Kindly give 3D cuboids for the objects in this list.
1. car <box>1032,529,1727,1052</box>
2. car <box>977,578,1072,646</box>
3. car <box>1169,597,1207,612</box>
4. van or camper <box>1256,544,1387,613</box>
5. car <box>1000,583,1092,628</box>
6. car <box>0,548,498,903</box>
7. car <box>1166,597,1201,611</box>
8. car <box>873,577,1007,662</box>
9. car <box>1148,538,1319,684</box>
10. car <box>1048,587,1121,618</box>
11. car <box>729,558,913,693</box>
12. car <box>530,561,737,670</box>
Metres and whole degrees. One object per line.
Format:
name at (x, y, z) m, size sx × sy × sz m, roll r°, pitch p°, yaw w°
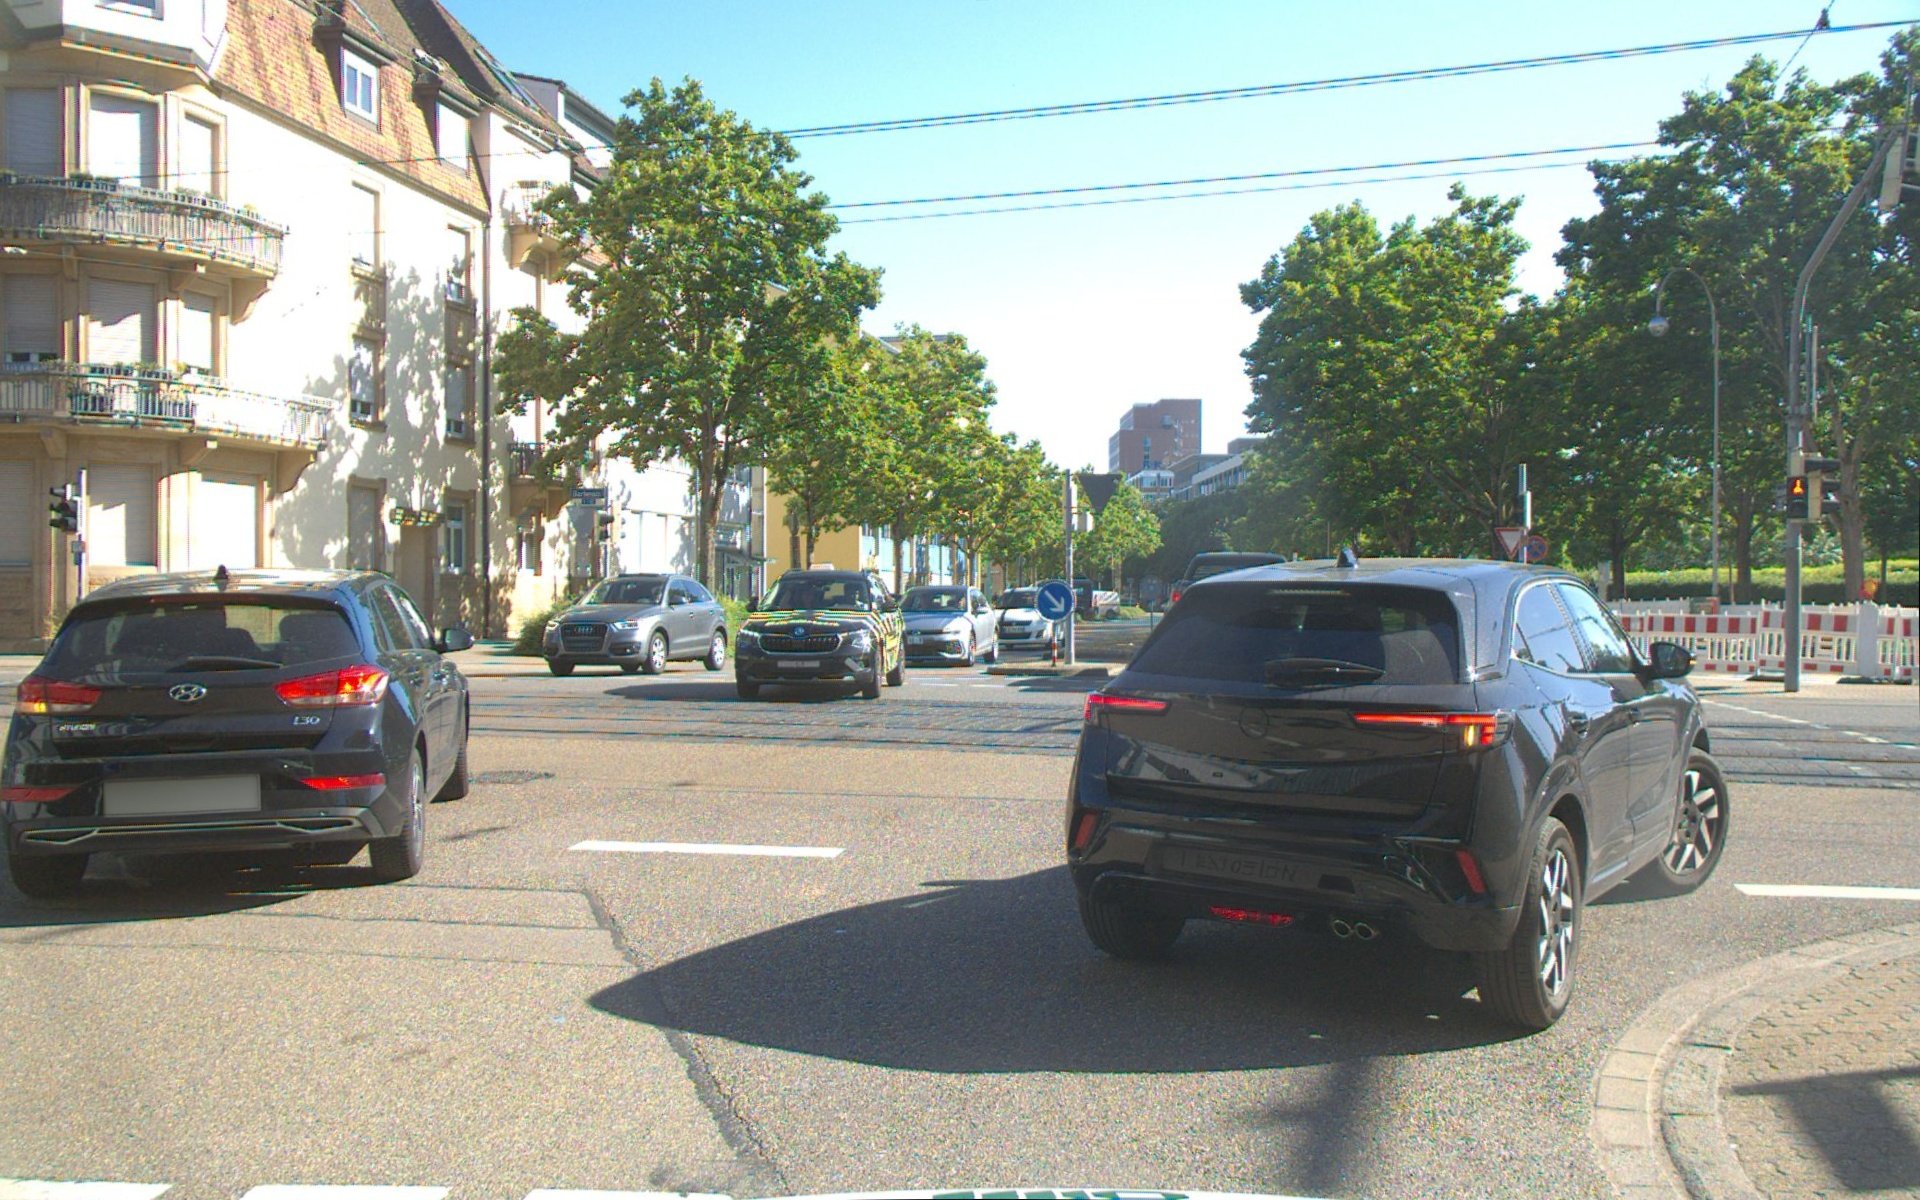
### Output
car at (1.993, 0.552, 6.950) m, size 1.750 × 1.544 × 3.745 m, roll 1°, pitch 0°, yaw 33°
car at (1.636, 0.267, 40.501) m, size 1.668 × 1.539 × 3.866 m, roll -2°, pitch 0°, yaw 12°
car at (24.486, 0.483, 177.690) m, size 3.865 × 1.421 × 1.516 m, roll -3°, pitch 0°, yaw 2°
van or camper at (17.389, -1.000, 79.871) m, size 5.949 × 2.980 × 2.577 m, roll -3°, pitch -1°, yaw 10°
car at (5.159, 0.330, 99.391) m, size 5.173 × 2.590 × 1.978 m, roll -1°, pitch 0°, yaw -15°
car at (-3.635, 0.455, 9.136) m, size 1.769 × 1.476 × 4.314 m, roll 0°, pitch 2°, yaw -12°
car at (25.971, 0.487, 192.345) m, size 3.865 × 1.421 × 1.516 m, roll -3°, pitch 0°, yaw 2°
car at (-0.308, 0.325, 30.840) m, size 1.671 × 1.477 × 3.854 m, roll 0°, pitch 0°, yaw 12°
car at (4.047, 0.123, 23.833) m, size 2.087 × 1.867 × 4.944 m, roll 0°, pitch 0°, yaw 13°
car at (8.832, 0.171, 117.239) m, size 4.820 × 2.119 × 1.970 m, roll -1°, pitch 0°, yaw -25°
car at (-1.645, 0.281, 20.923) m, size 1.750 × 1.540 × 4.118 m, roll 0°, pitch 0°, yaw 3°
car at (-5.203, 0.220, 26.947) m, size 1.844 × 1.638 × 4.152 m, roll 0°, pitch 0°, yaw 11°
